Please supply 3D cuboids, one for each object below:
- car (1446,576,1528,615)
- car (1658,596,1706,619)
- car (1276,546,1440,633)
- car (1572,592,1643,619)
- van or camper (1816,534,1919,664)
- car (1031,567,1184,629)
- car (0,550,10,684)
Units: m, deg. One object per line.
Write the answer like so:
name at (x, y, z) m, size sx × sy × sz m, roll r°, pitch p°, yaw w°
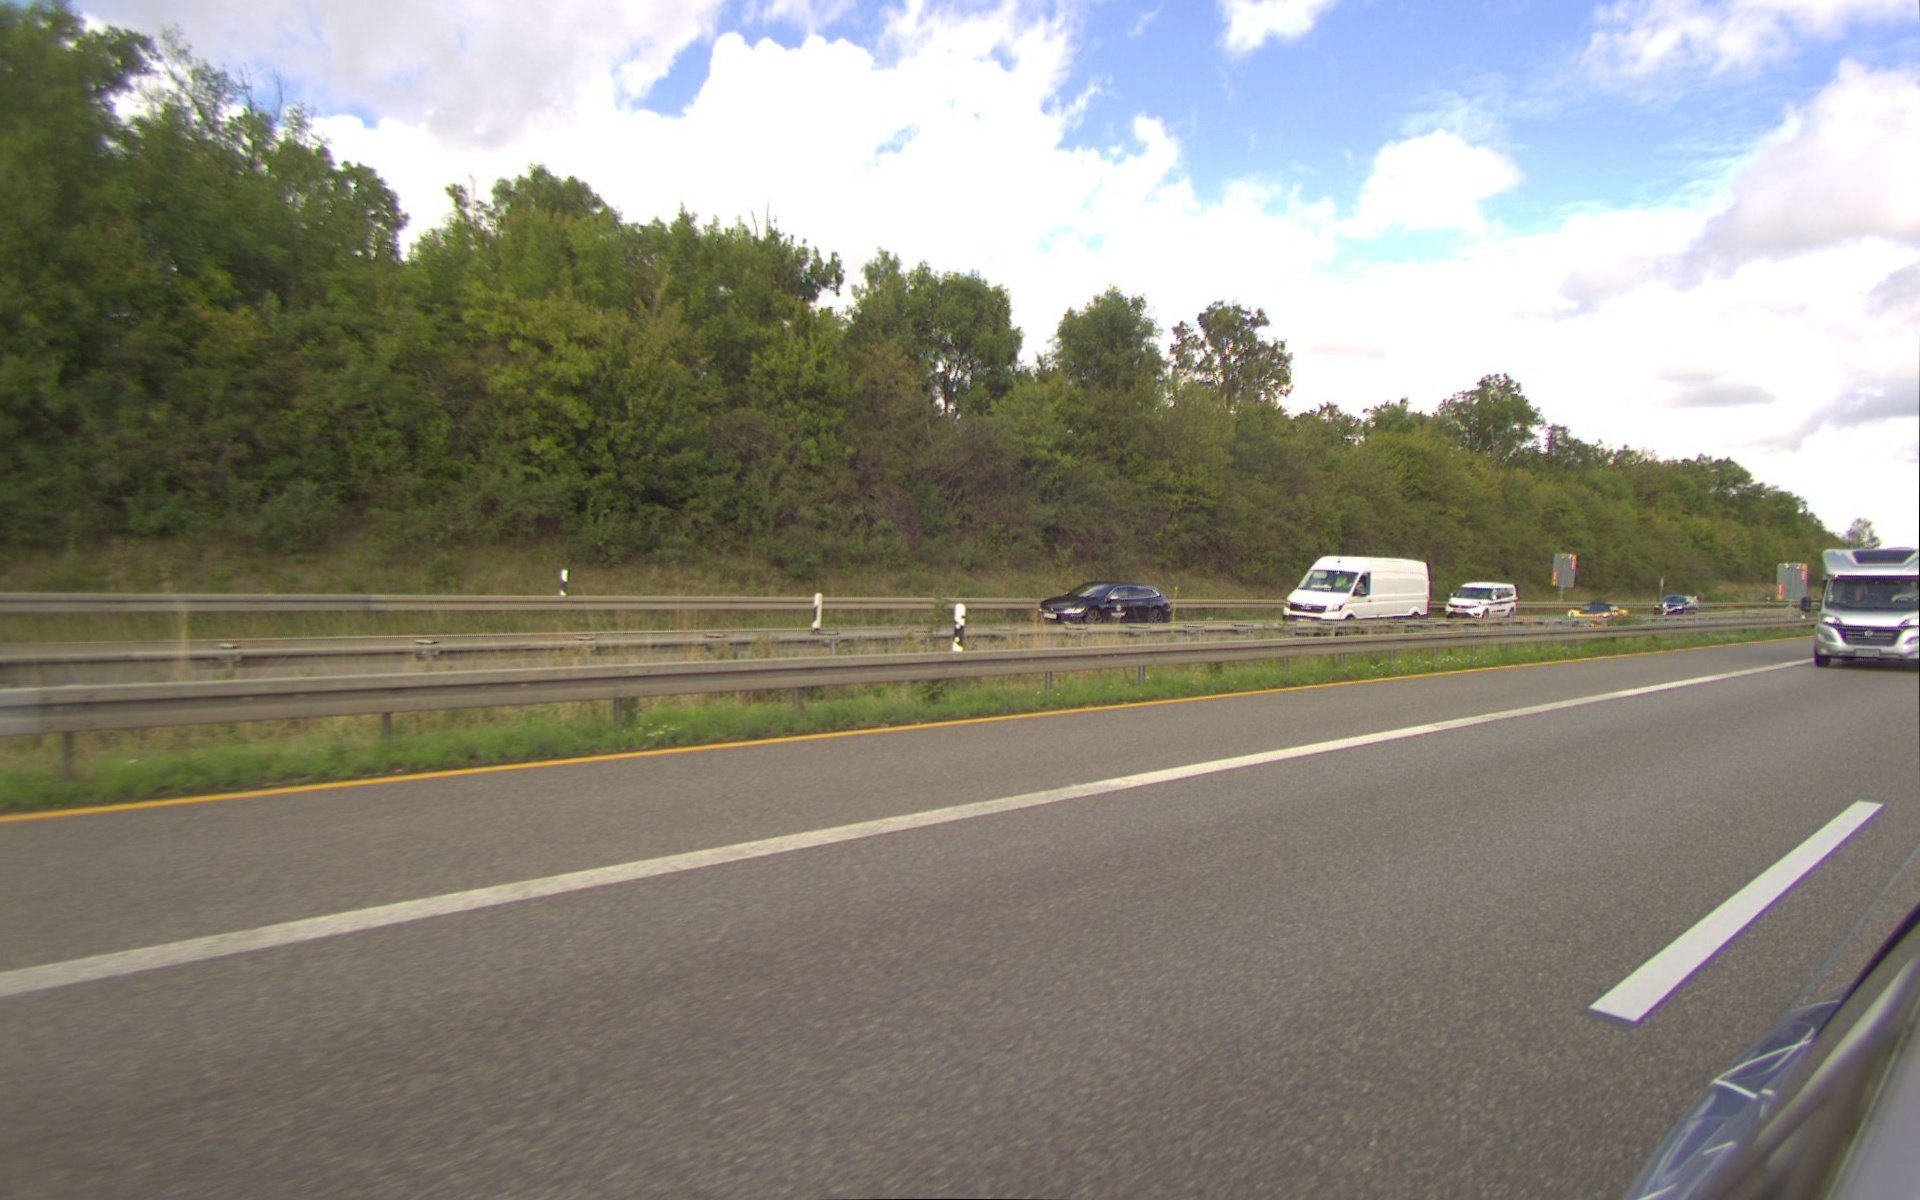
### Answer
car at (25.108, -0.227, 48.113) m, size 4.680 × 1.774 × 1.847 m, roll 0°, pitch 1°, yaw -41°
car at (49.220, 0.501, 68.962) m, size 4.095 × 1.433 × 1.715 m, roll 0°, pitch 1°, yaw -41°
car at (13.049, -0.341, 32.888) m, size 6.624 × 2.586 × 2.074 m, roll 0°, pitch 2°, yaw -41°
car at (30.299, 0.254, 47.299) m, size 4.096 × 1.196 × 1.715 m, roll 0°, pitch 1°, yaw -41°
van or camper at (22.852, -0.030, 24.238) m, size 7.527 × 2.756 × 2.473 m, roll 0°, pitch 0°, yaw -41°
car at (4.399, -0.066, 29.750) m, size 4.681 × 1.622 × 1.847 m, roll 0°, pitch 3°, yaw -42°
car at (-12.877, 0.183, 10.387) m, size 4.446 × 1.502 × 1.847 m, roll 0°, pitch 3°, yaw -41°
